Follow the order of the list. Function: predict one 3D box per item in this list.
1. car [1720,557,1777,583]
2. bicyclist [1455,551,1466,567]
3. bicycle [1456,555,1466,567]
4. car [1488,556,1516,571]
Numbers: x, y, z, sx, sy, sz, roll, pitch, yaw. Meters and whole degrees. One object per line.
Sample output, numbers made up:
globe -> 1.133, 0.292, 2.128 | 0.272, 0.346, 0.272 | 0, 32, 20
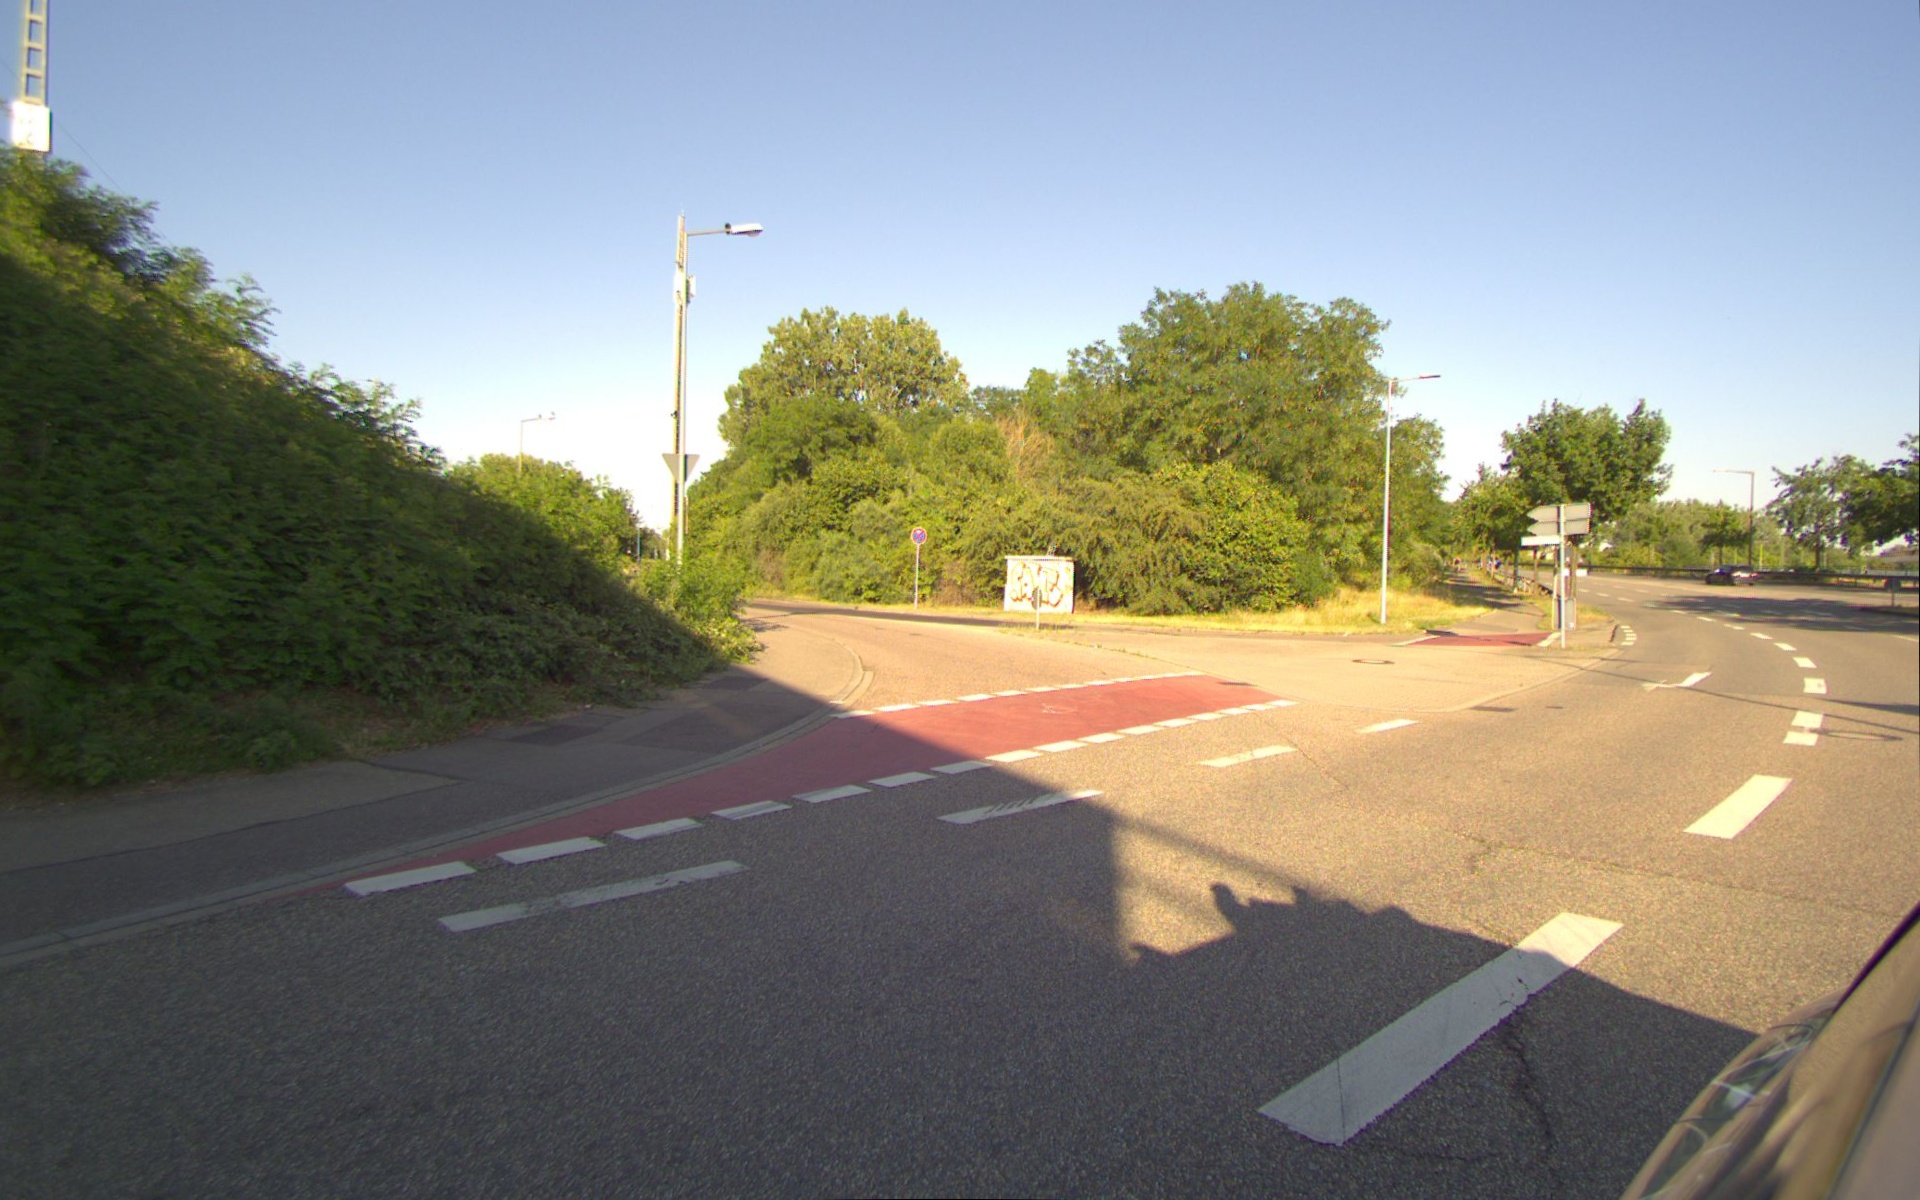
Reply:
car -> 55.823, -2.085, 71.725 | 1.974, 1.794, 3.976 | 0, 0, 19
bicyclist -> 45.606, -3.738, 92.231 | 0.836, 1.439, 1.103 | 0, 0, 28
bicycle -> 45.652, -3.559, 92.215 | 0.775, 1.070, 2.473 | 0, 0, 27
car -> 68.694, -4.666, 128.371 | 1.969, 1.794, 3.987 | 0, 0, 11
